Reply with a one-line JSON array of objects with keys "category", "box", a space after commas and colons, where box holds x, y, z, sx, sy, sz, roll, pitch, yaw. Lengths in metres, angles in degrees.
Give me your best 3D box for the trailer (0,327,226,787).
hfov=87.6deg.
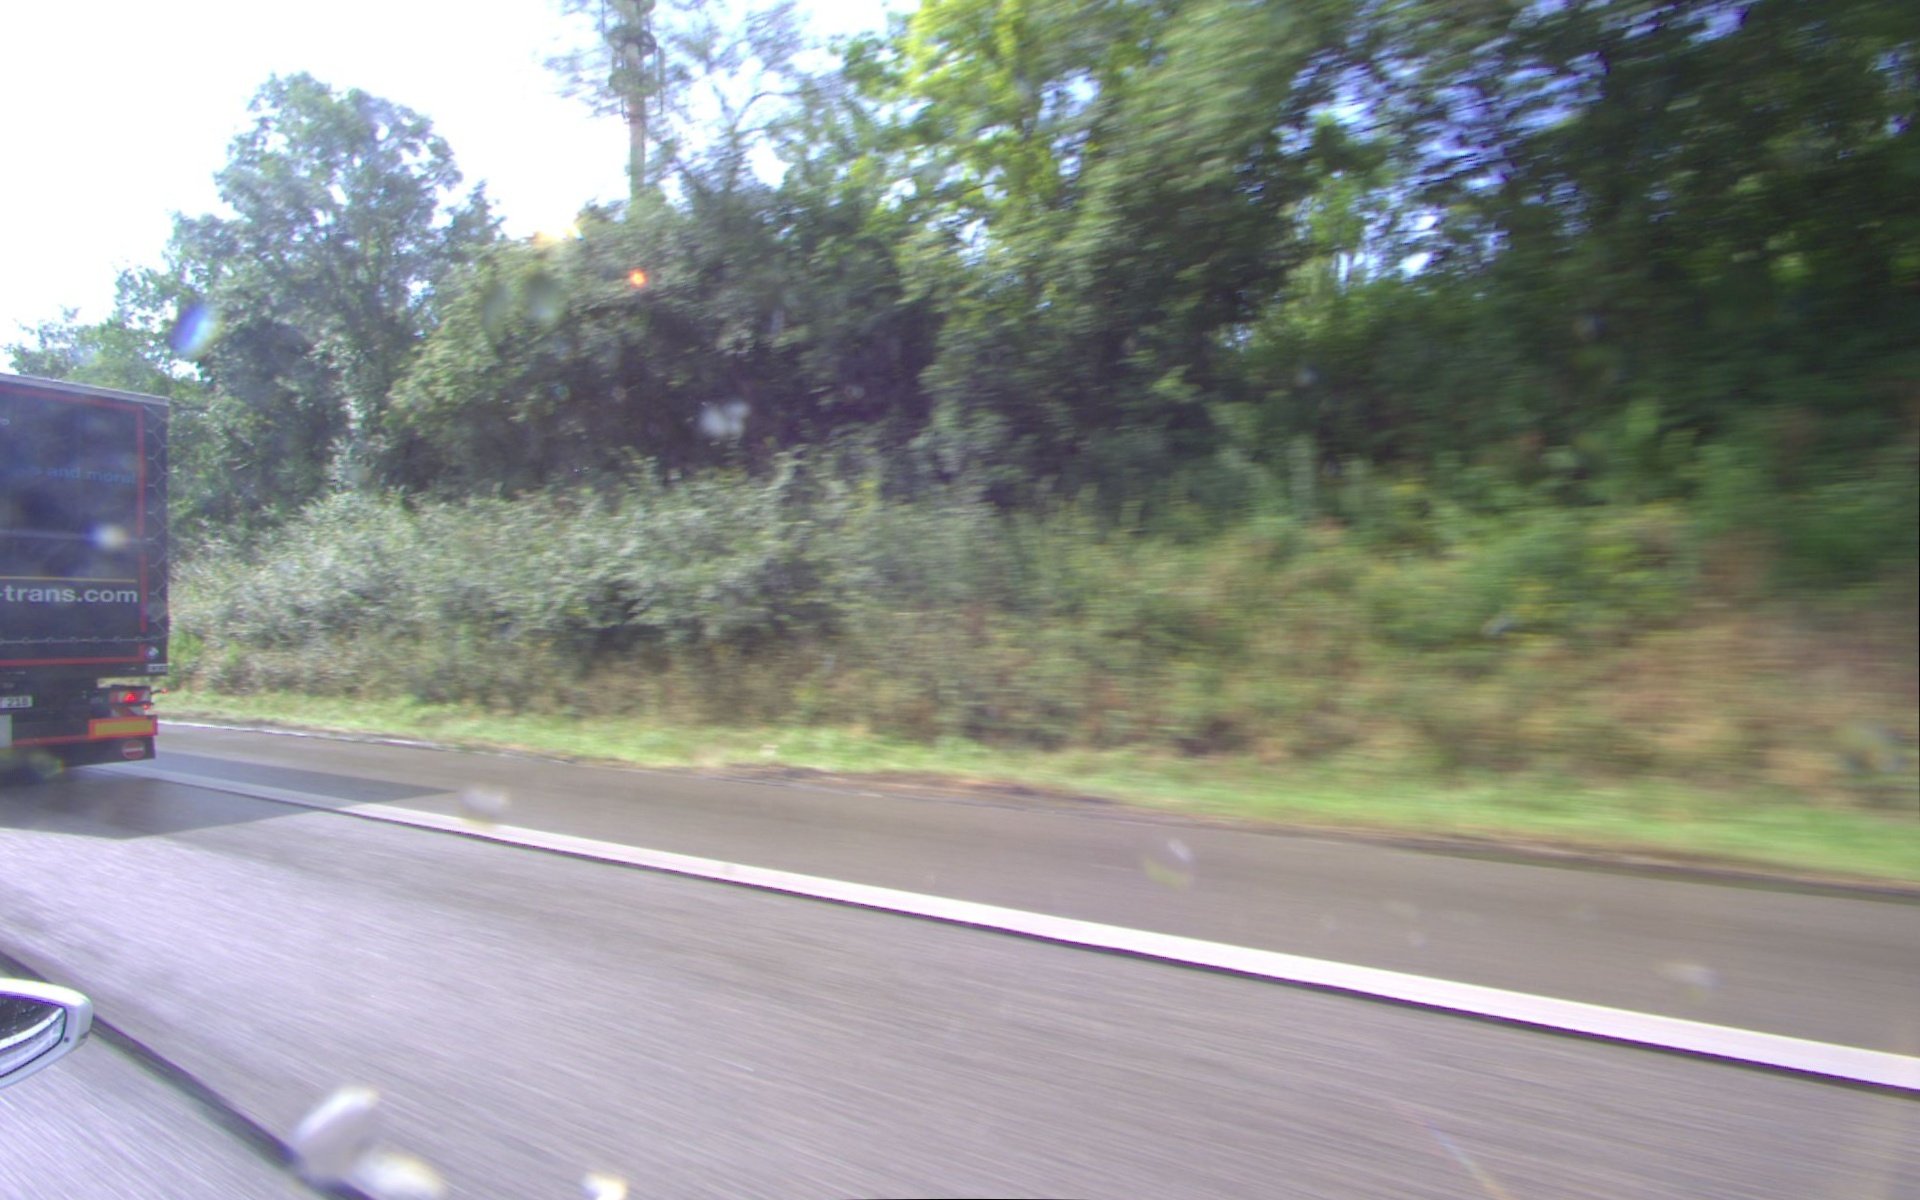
[{"category": "trailer", "box": [-14.787, -0.265, 13.525, 13.905, 4.368, 3.082, -1, -1, 33]}]
